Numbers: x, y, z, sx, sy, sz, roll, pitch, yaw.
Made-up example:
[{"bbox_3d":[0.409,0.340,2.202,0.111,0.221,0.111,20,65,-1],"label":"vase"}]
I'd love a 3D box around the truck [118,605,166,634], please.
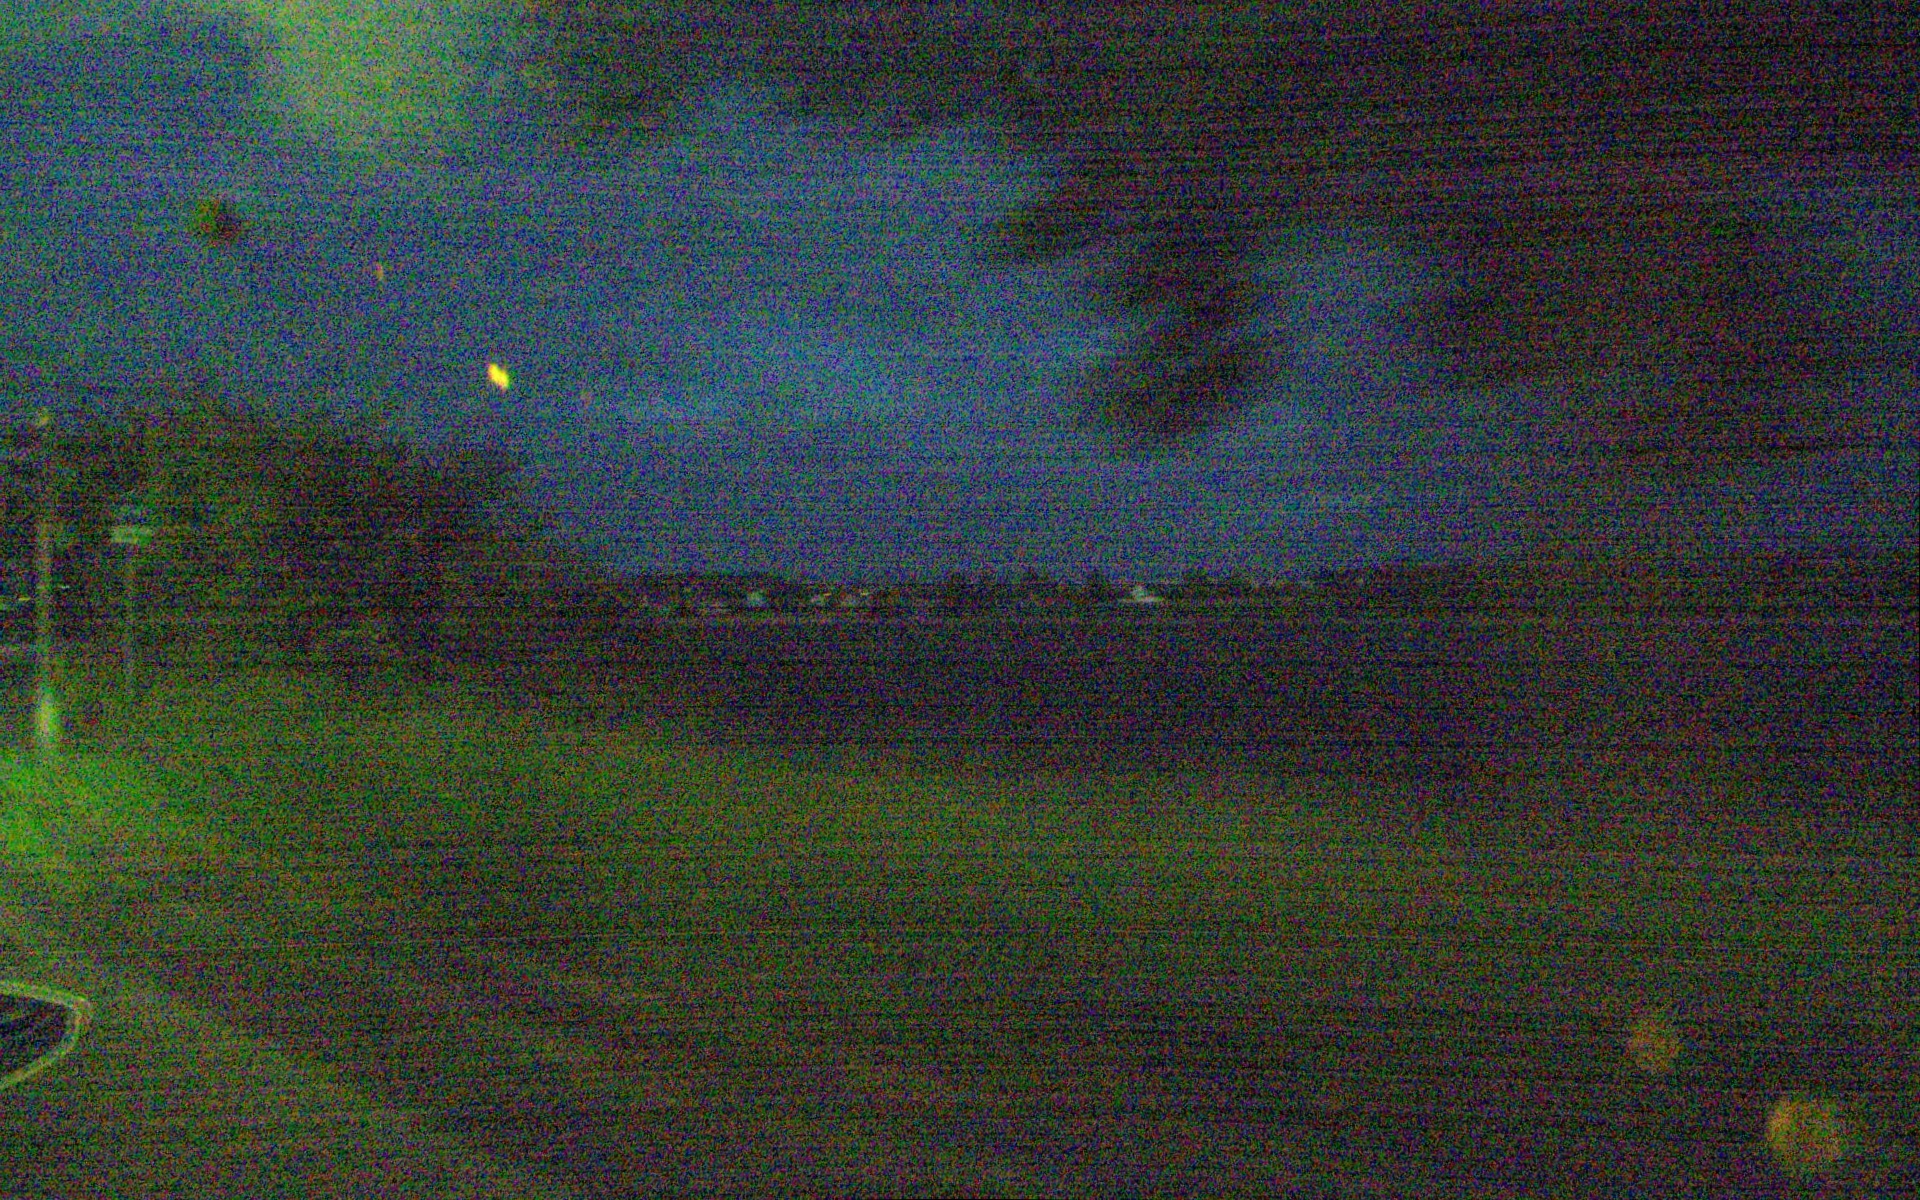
[{"bbox_3d":[-66.148,1.574,81.096,2.225,2.157,5.945,-1,0,-32],"label":"truck"}]

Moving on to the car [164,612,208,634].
[{"bbox_3d":[-60.177,1.788,77.941,1.733,1.629,4.434,-1,0,-25],"label":"car"}]

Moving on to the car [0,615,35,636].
[{"bbox_3d":[-65.332,1.721,67.374,4.302,1.377,1.634,0,-1,-32],"label":"car"}]
